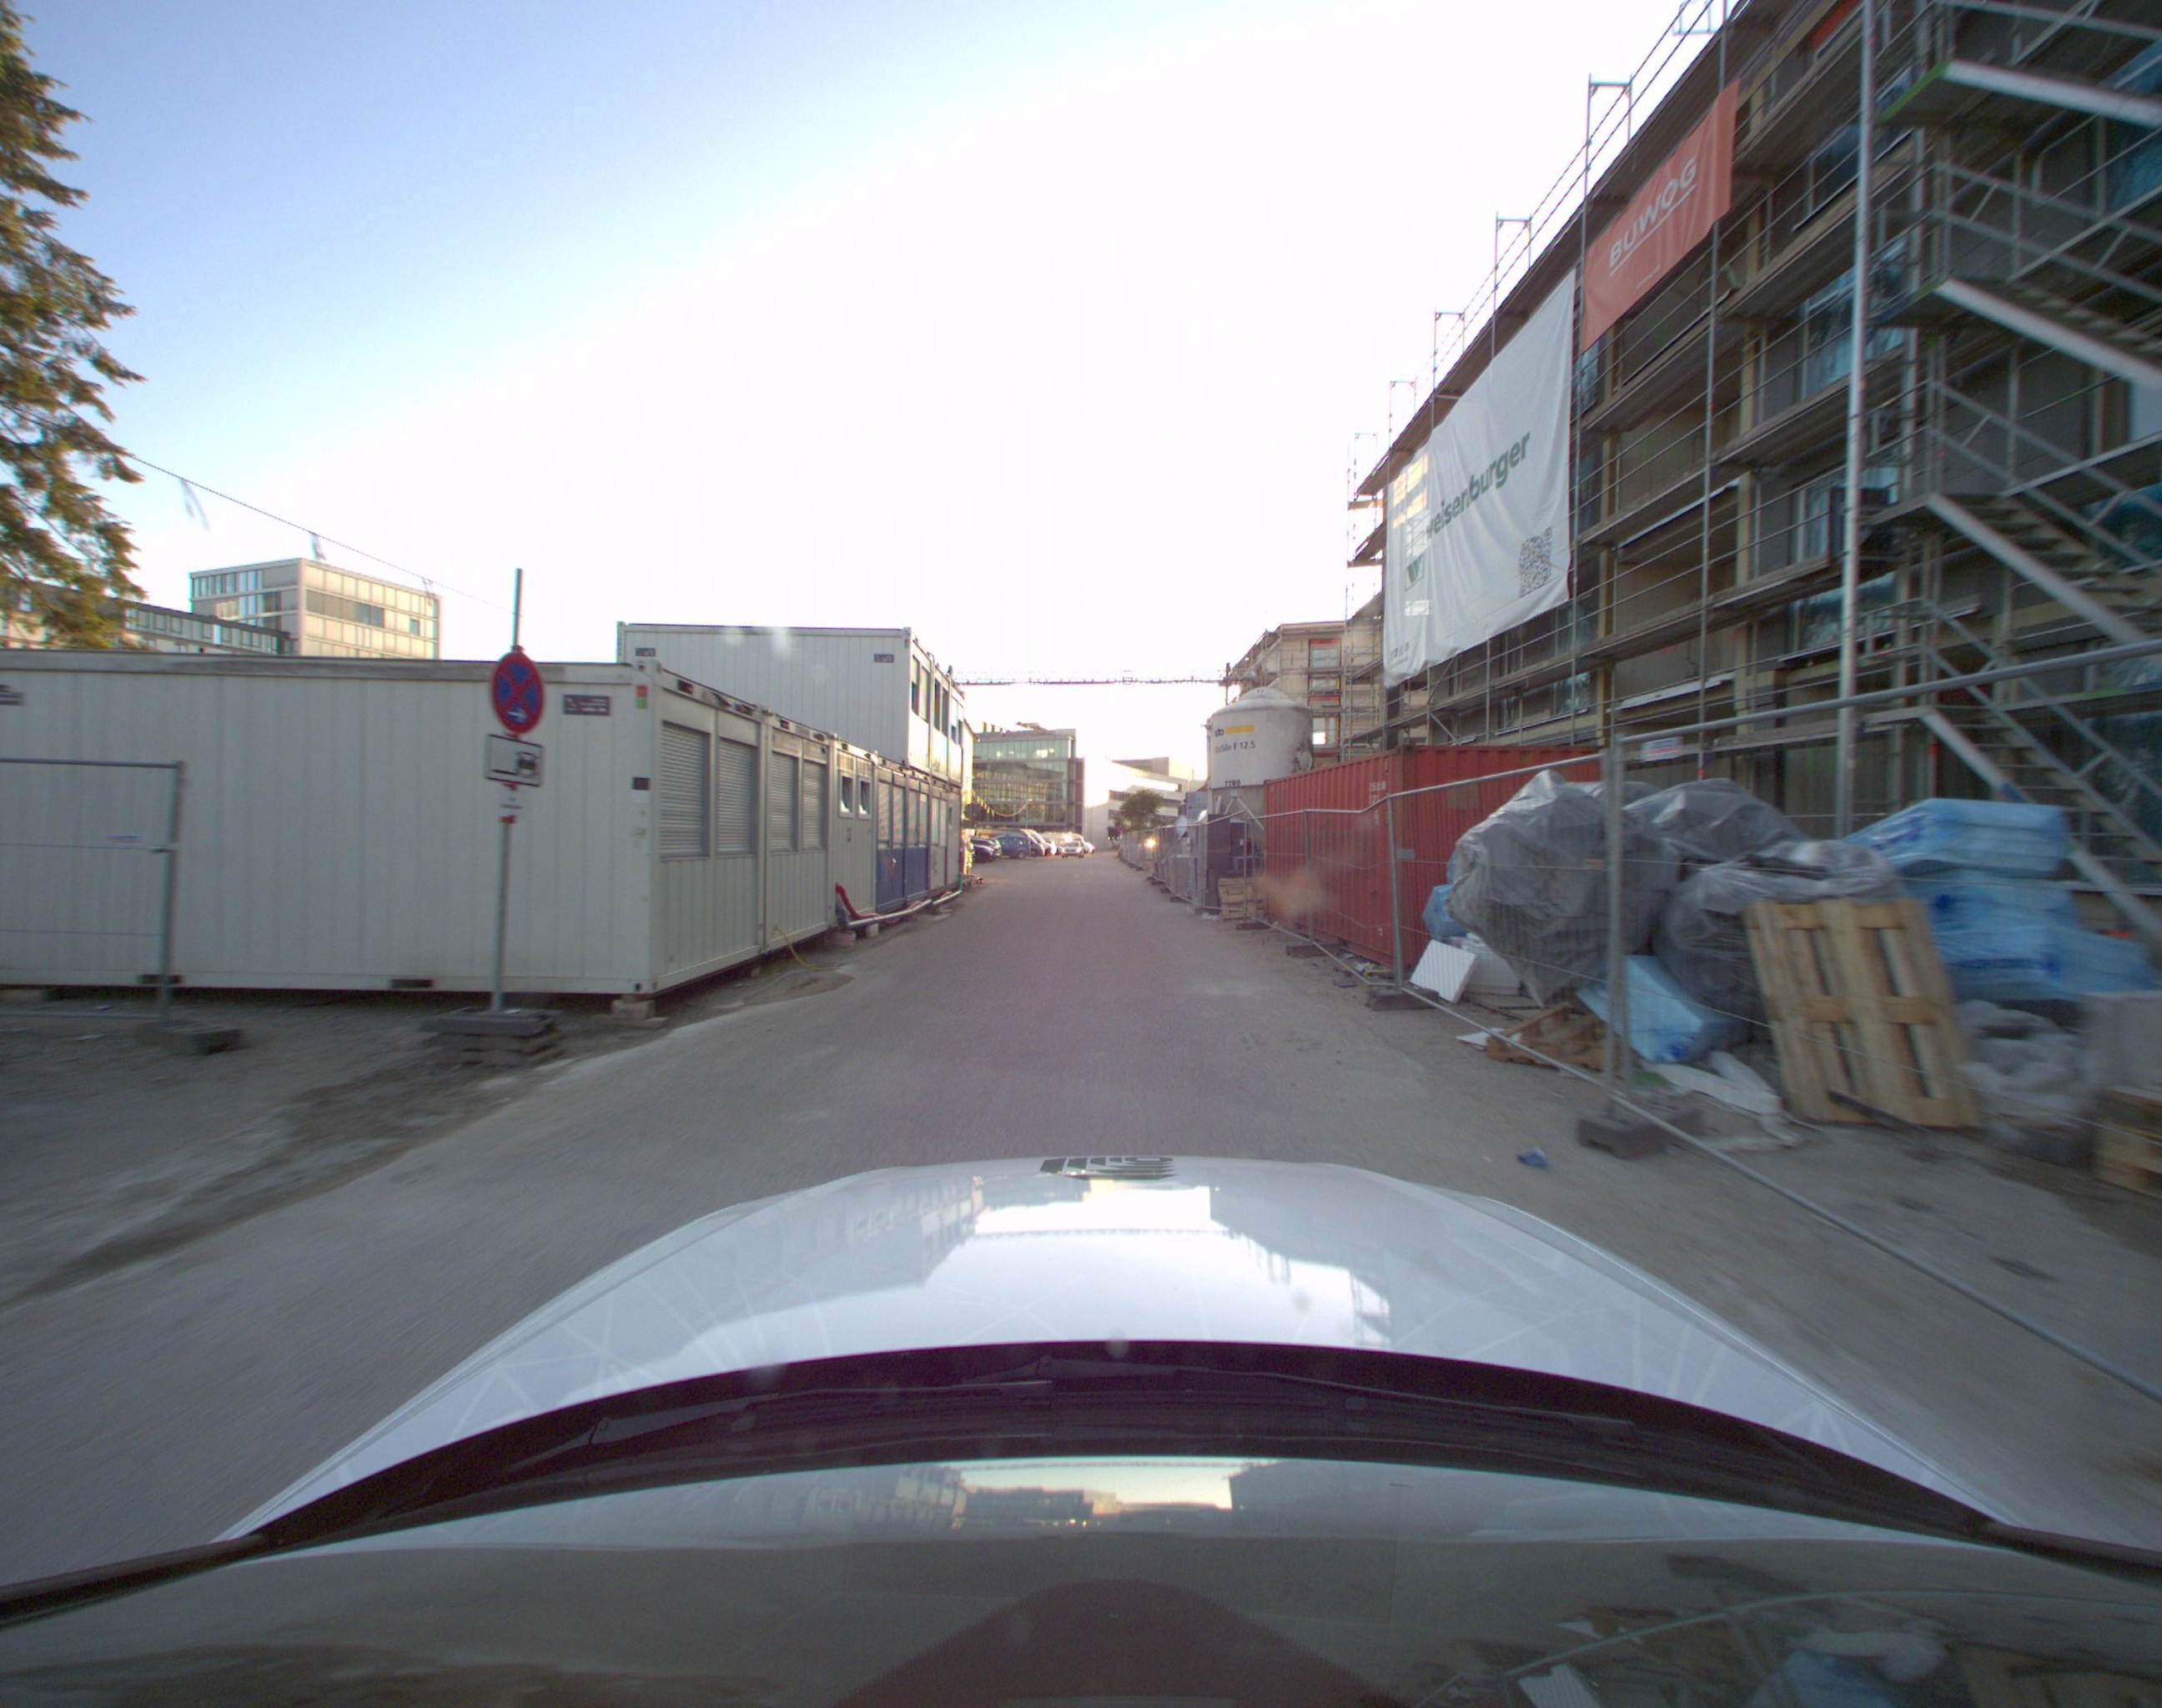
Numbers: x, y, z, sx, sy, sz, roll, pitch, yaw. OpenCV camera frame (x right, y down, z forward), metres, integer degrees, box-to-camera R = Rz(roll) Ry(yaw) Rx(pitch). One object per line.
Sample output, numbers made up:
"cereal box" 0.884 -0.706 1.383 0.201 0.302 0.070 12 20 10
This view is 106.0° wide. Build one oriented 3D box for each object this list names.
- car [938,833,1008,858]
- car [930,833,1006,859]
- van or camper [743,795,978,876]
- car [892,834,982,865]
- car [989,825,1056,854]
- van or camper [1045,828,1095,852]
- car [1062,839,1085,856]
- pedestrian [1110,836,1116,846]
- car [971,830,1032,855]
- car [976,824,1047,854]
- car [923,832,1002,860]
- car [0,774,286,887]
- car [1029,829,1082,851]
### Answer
"car" -7.530 -0.612 57.019 4.477 1.648 2.005 1 1 9
"car" -7.400 -0.565 53.589 4.477 1.648 2.005 1 1 9
"van or camper" -8.740 -0.747 32.868 8.731 3.048 2.596 0 1 2
"car" -7.903 -0.267 44.932 4.477 1.648 2.005 1 1 9
"car" -5.700 -1.390 79.590 6.306 2.741 2.000 0 1 1
"van or camper" -1.469 -1.892 108.881 6.289 2.978 2.301 1 0 13
"car" -0.654 -0.588 74.673 1.656 1.529 3.918 1 1 7
"pedestrian" 5.489 -2.254 139.969 0.756 1.816 0.850 1 1 24
"car" -6.024 -0.873 62.011 4.497 1.868 1.997 0 1 -5
"car" -6.430 -1.407 75.899 6.306 2.650 2.000 0 1 1
"car" -7.385 -0.509 50.912 4.477 1.648 2.005 1 1 9
"car" -25.021 -0.604 21.943 1.982 2.692 4.871 1 1 9
"car" -2.968 -1.683 95.046 5.885 2.490 2.007 1 1 11
